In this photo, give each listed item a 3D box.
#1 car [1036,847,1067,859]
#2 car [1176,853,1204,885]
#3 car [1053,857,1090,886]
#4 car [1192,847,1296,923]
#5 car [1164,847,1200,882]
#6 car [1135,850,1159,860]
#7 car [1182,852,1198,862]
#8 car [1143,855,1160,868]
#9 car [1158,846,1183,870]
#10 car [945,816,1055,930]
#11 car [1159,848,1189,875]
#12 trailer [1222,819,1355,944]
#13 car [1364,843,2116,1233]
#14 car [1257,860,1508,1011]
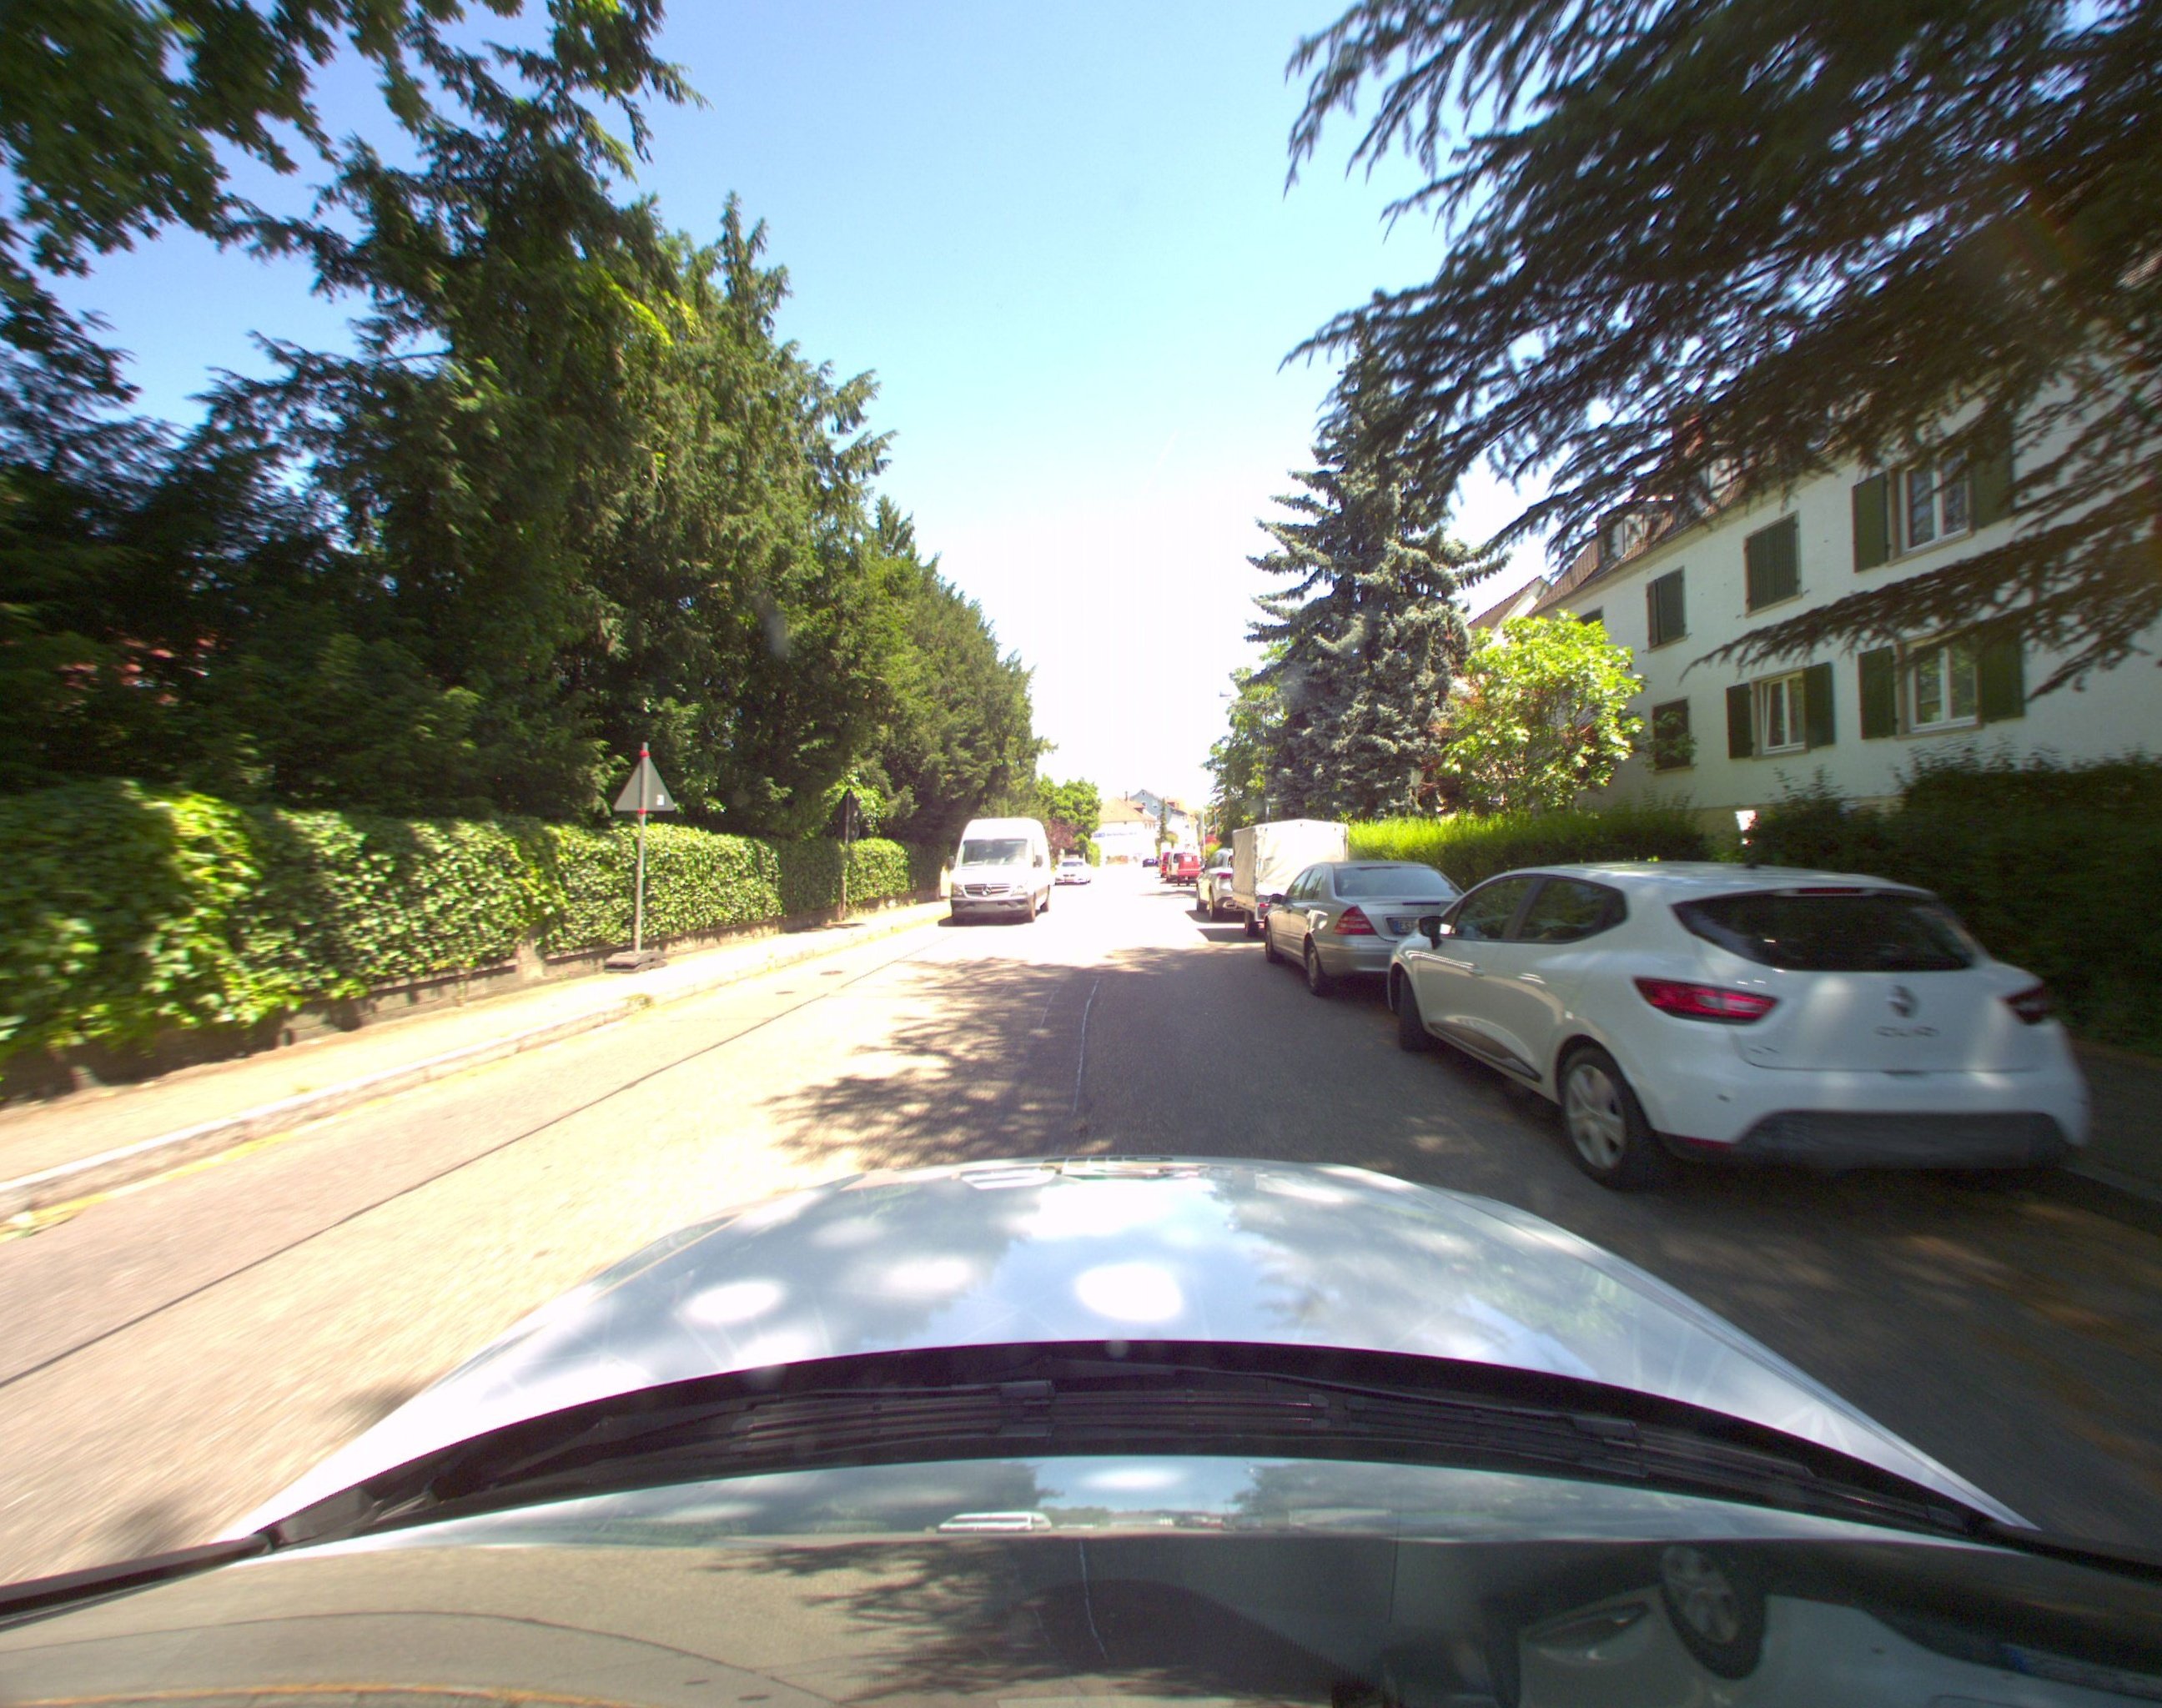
[{"bbox_3d":[-3.873,-0.098,108.302,3.972,1.510,1.801,-1,0,1],"label":"car"},{"bbox_3d":[5.299,0.688,39.751,1.254,1.495,2.713,-1,0,6],"label":"car"},{"bbox_3d":[-0.477,0.949,46.247,1.857,1.383,4.606,-3,0,2],"label":"car"},{"bbox_3d":[3.858,0.651,19.991,1.765,1.632,4.606,-1,0,2],"label":"car"},{"bbox_3d":[5.480,0.532,44.626,1.738,1.782,4.548,-1,0,4],"label":"car"},{"bbox_3d":[12.213,0.211,150.502,4.104,1.774,1.833,-2,0,9],"label":"car"},{"bbox_3d":[15.917,0.416,118.658,1.765,1.405,4.302,-1,0,13],"label":"car"},{"bbox_3d":[8.356,0.890,95.877,1.784,1.510,4.008,0,0,7],"label":"car"},{"bbox_3d":[7.456,0.321,67.987,1.894,1.924,4.725,-2,0,5],"label":"car"},{"bbox_3d":[-1.946,0.416,21.555,1.986,2.532,5.898,-2,0,2],"label":"car"},{"bbox_3d":[6.173,0.480,54.388,1.894,1.728,4.397,-1,0,5],"label":"car"},{"bbox_3d":[3.792,0.454,15.446,1.673,2.068,3.710,-1,0,2],"label":"trailer"},{"bbox_3d":[3.197,0.710,5.135,1.608,1.469,4.067,-1,0,3],"label":"car"},{"bbox_3d":[3.282,0.778,9.777,1.608,1.396,4.261,-1,0,3],"label":"car"}]
